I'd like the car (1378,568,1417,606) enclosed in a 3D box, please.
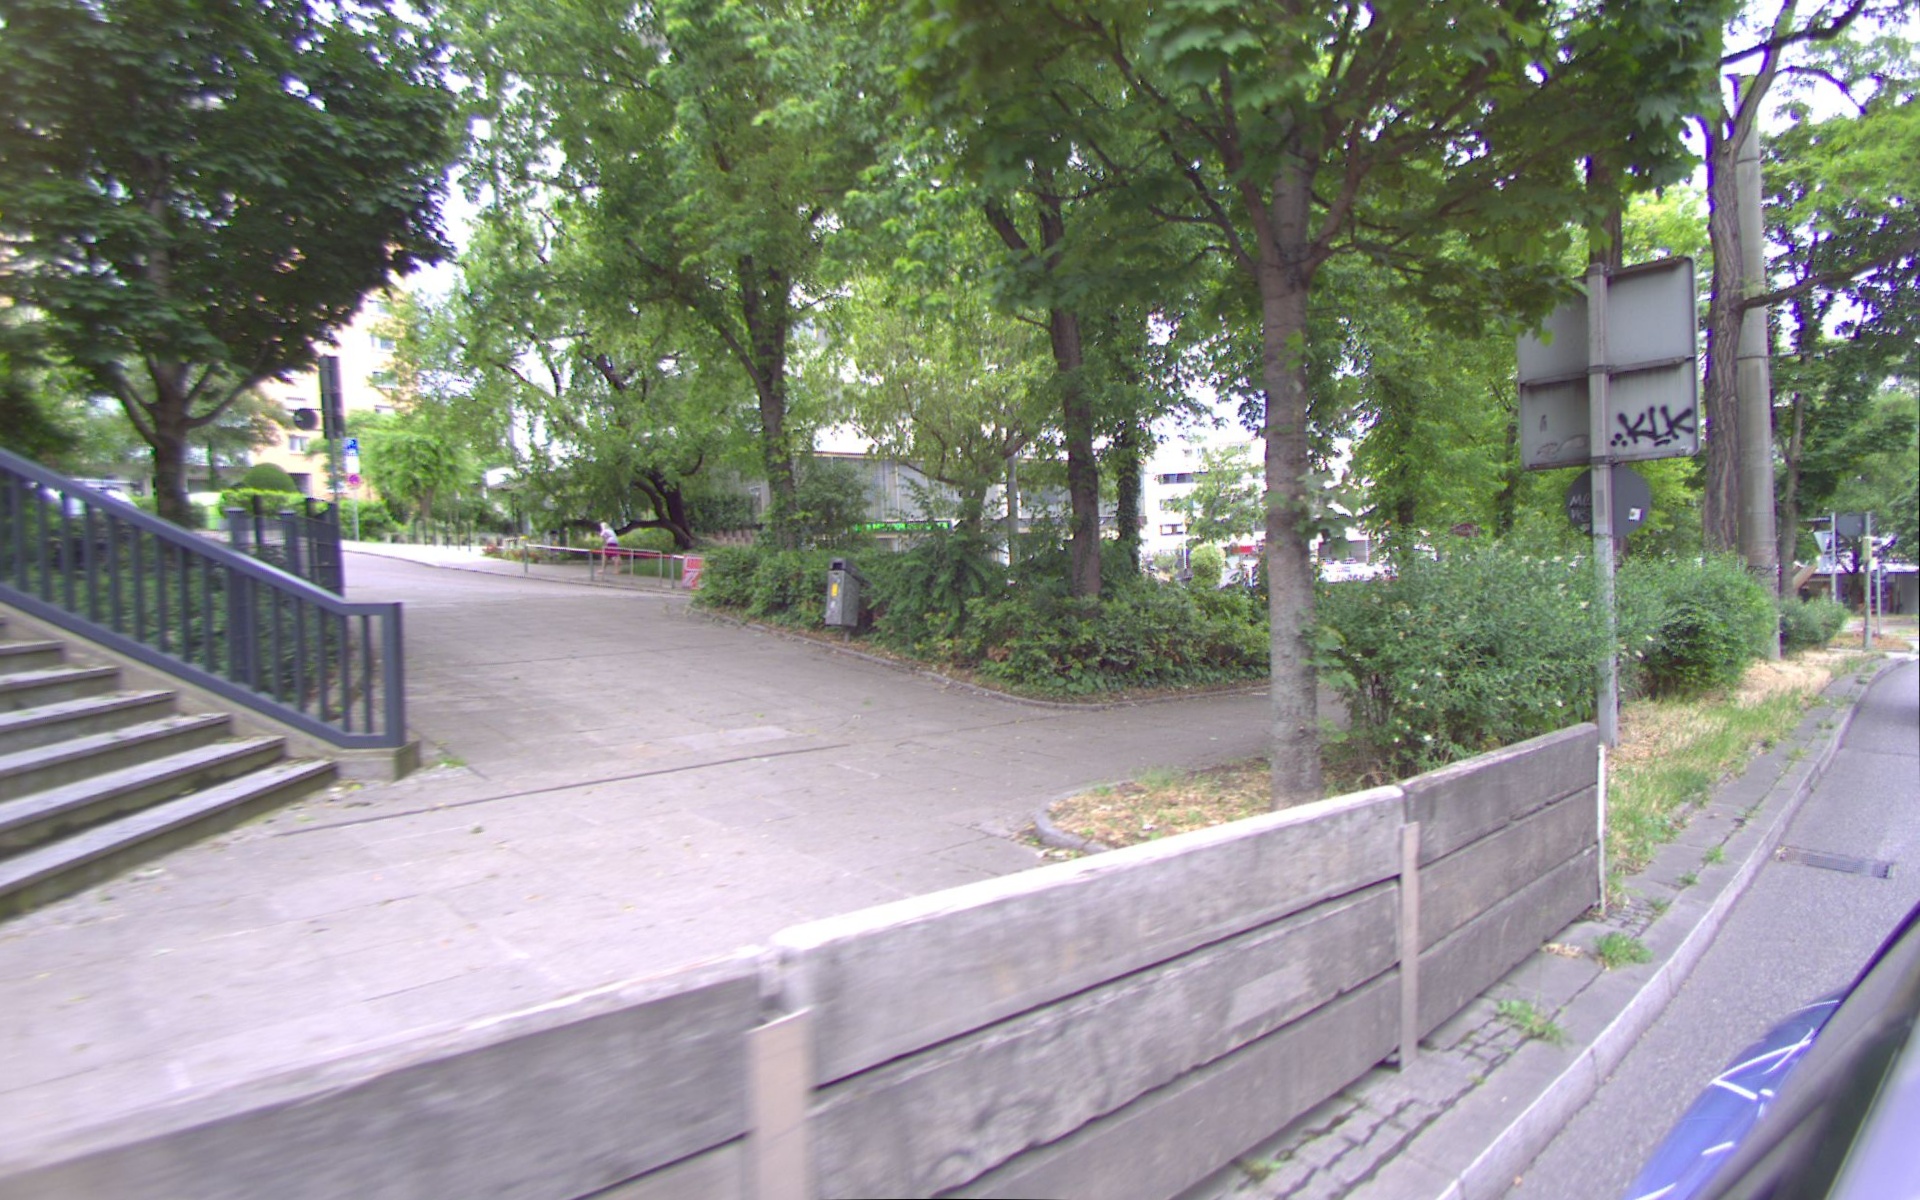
[{"bbox_3d":[27.275,-0.809,63.213,2.102,2.241,4.858,1,1,22],"label":"car"}]

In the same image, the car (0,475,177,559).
[{"bbox_3d":[-22.675,-2.163,25.894,5.167,1.956,2.160,4,5,27],"label":"car"}]
